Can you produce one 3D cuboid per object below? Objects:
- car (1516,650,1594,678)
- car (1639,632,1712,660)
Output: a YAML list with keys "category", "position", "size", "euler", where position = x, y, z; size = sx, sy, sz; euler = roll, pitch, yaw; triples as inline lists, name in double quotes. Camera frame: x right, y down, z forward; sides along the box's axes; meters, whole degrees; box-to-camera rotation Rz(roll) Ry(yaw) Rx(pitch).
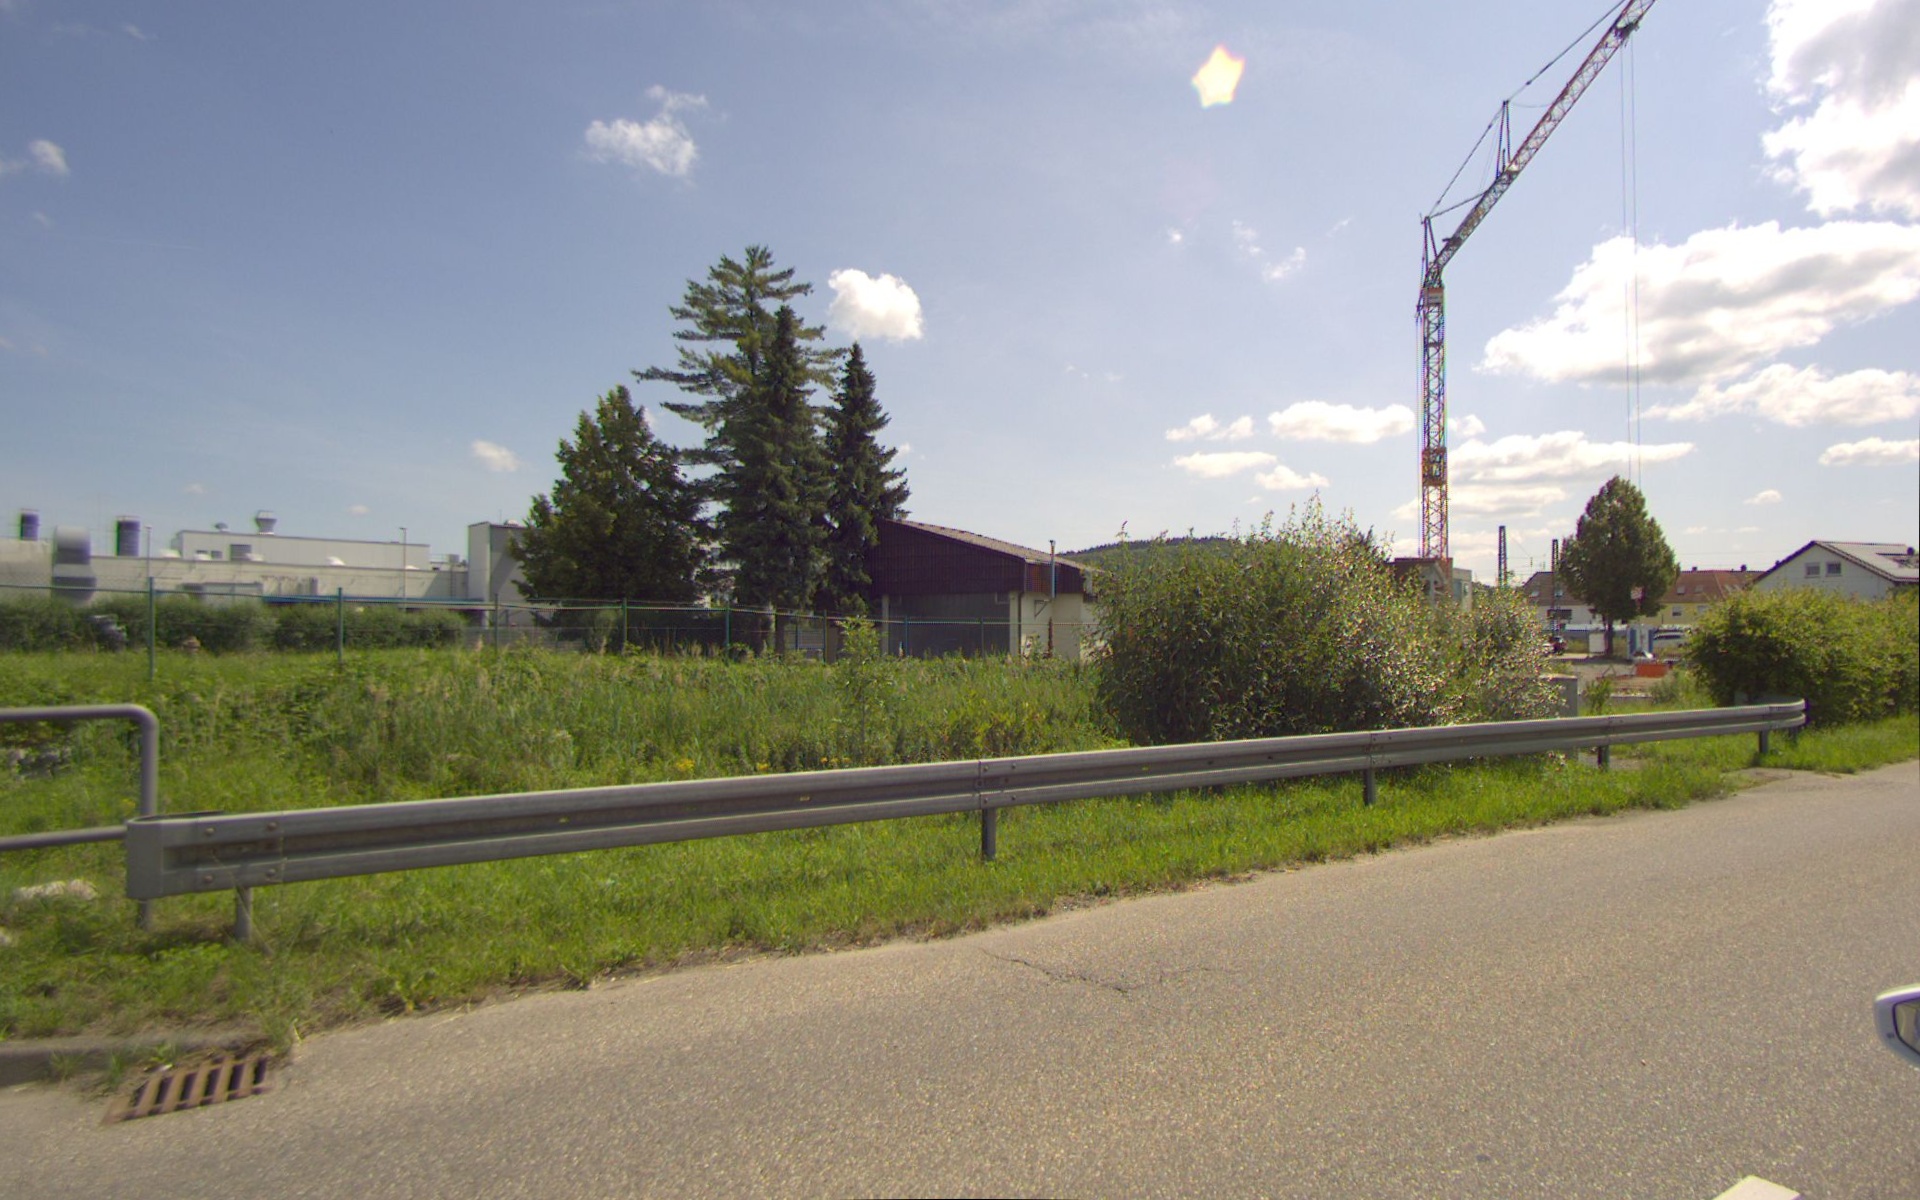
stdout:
- category: "car"
  position: [33.551, 3.589, 56.780]
  size: [3.660, 1.505, 1.858]
  euler: [-1, -2, 27]
- category: "car"
  position: [53.460, 3.409, 75.105]
  size: [4.337, 2.040, 1.995]
  euler: [-1, -2, 34]
